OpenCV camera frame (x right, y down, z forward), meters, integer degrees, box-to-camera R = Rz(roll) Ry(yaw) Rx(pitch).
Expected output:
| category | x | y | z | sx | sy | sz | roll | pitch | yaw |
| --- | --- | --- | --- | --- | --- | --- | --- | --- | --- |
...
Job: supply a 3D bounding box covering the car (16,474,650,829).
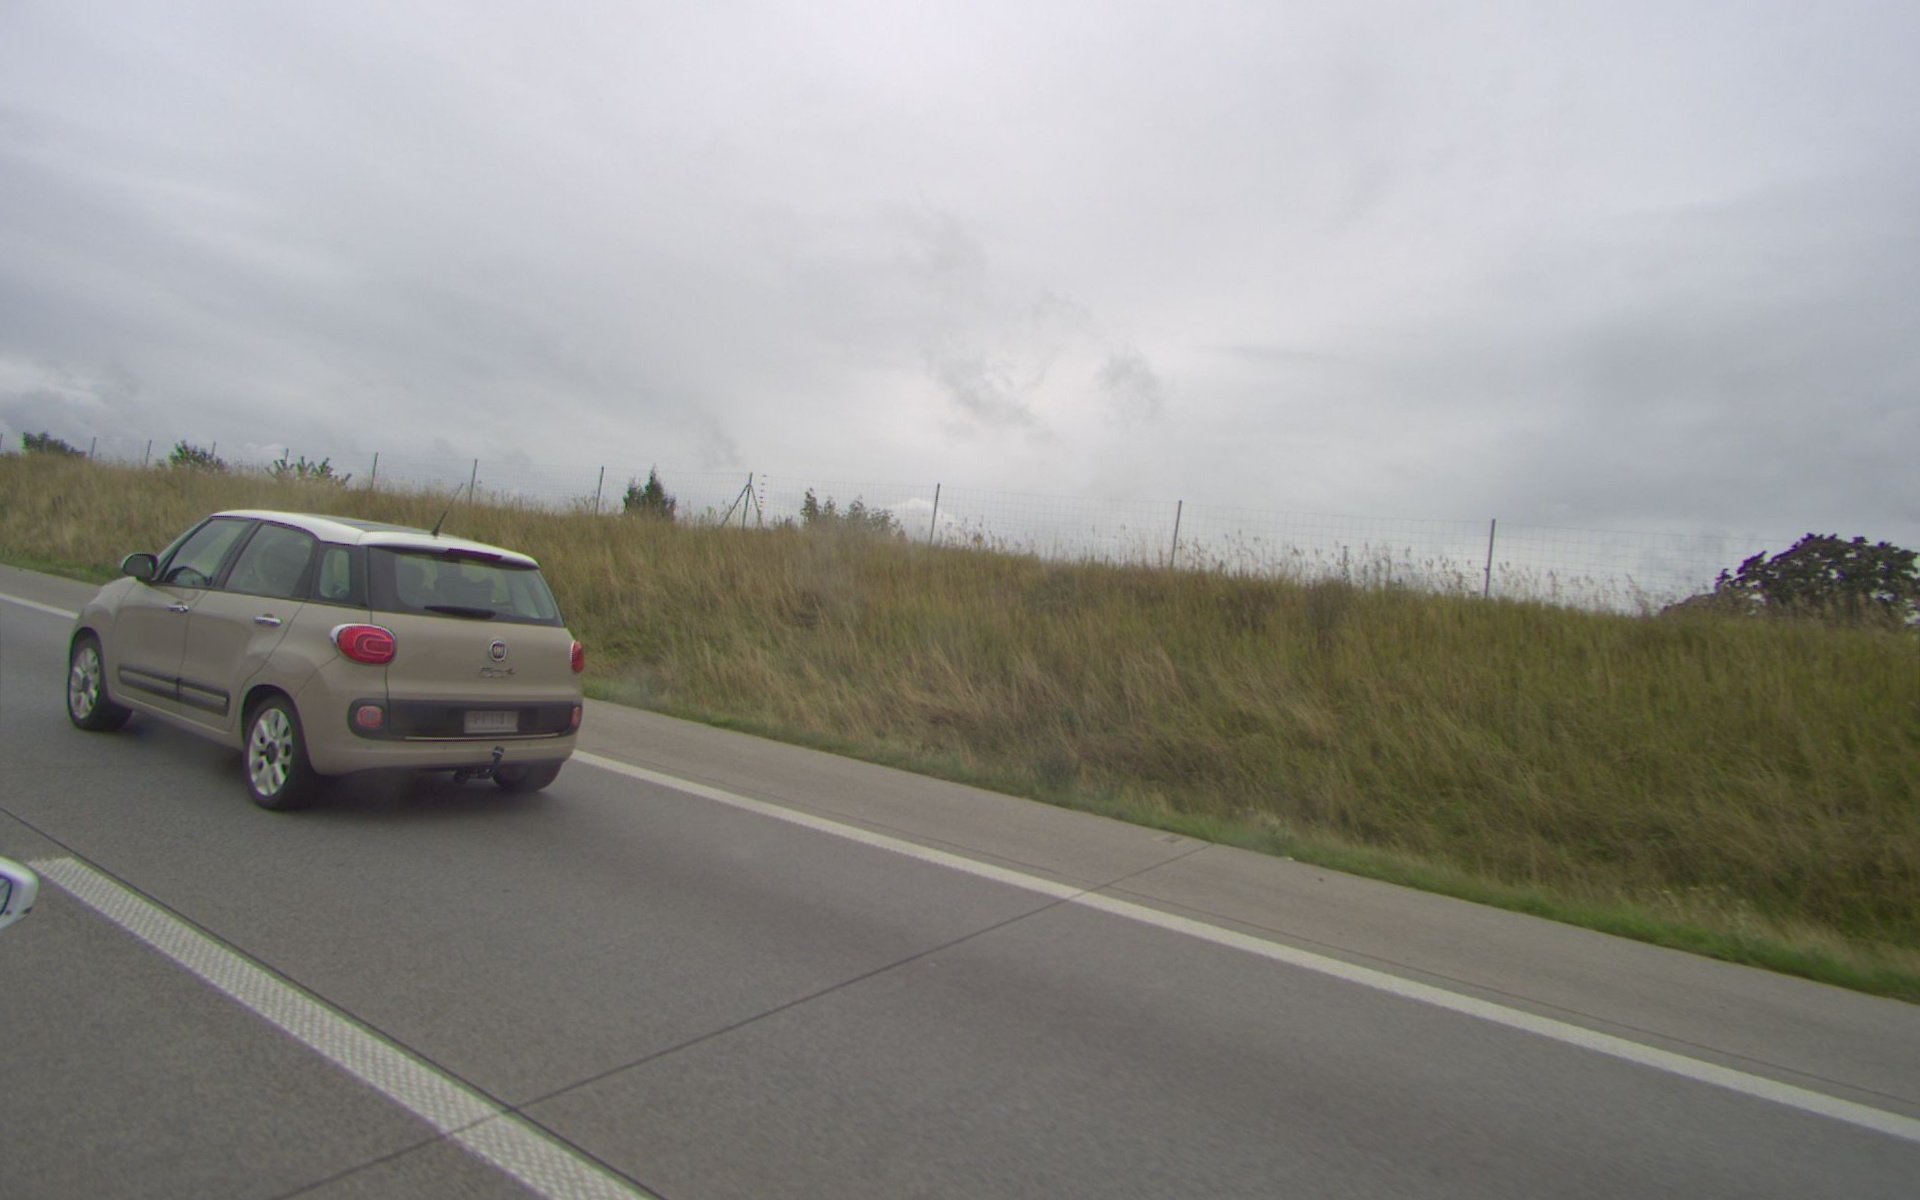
| category | x | y | z | sx | sy | sz | roll | pitch | yaw |
| --- | --- | --- | --- | --- | --- | --- | --- | --- | --- |
| car | -4.465 | 0.196 | 6.951 | 4.495 | 1.623 | 1.789 | 7 | -2 | 32 |
